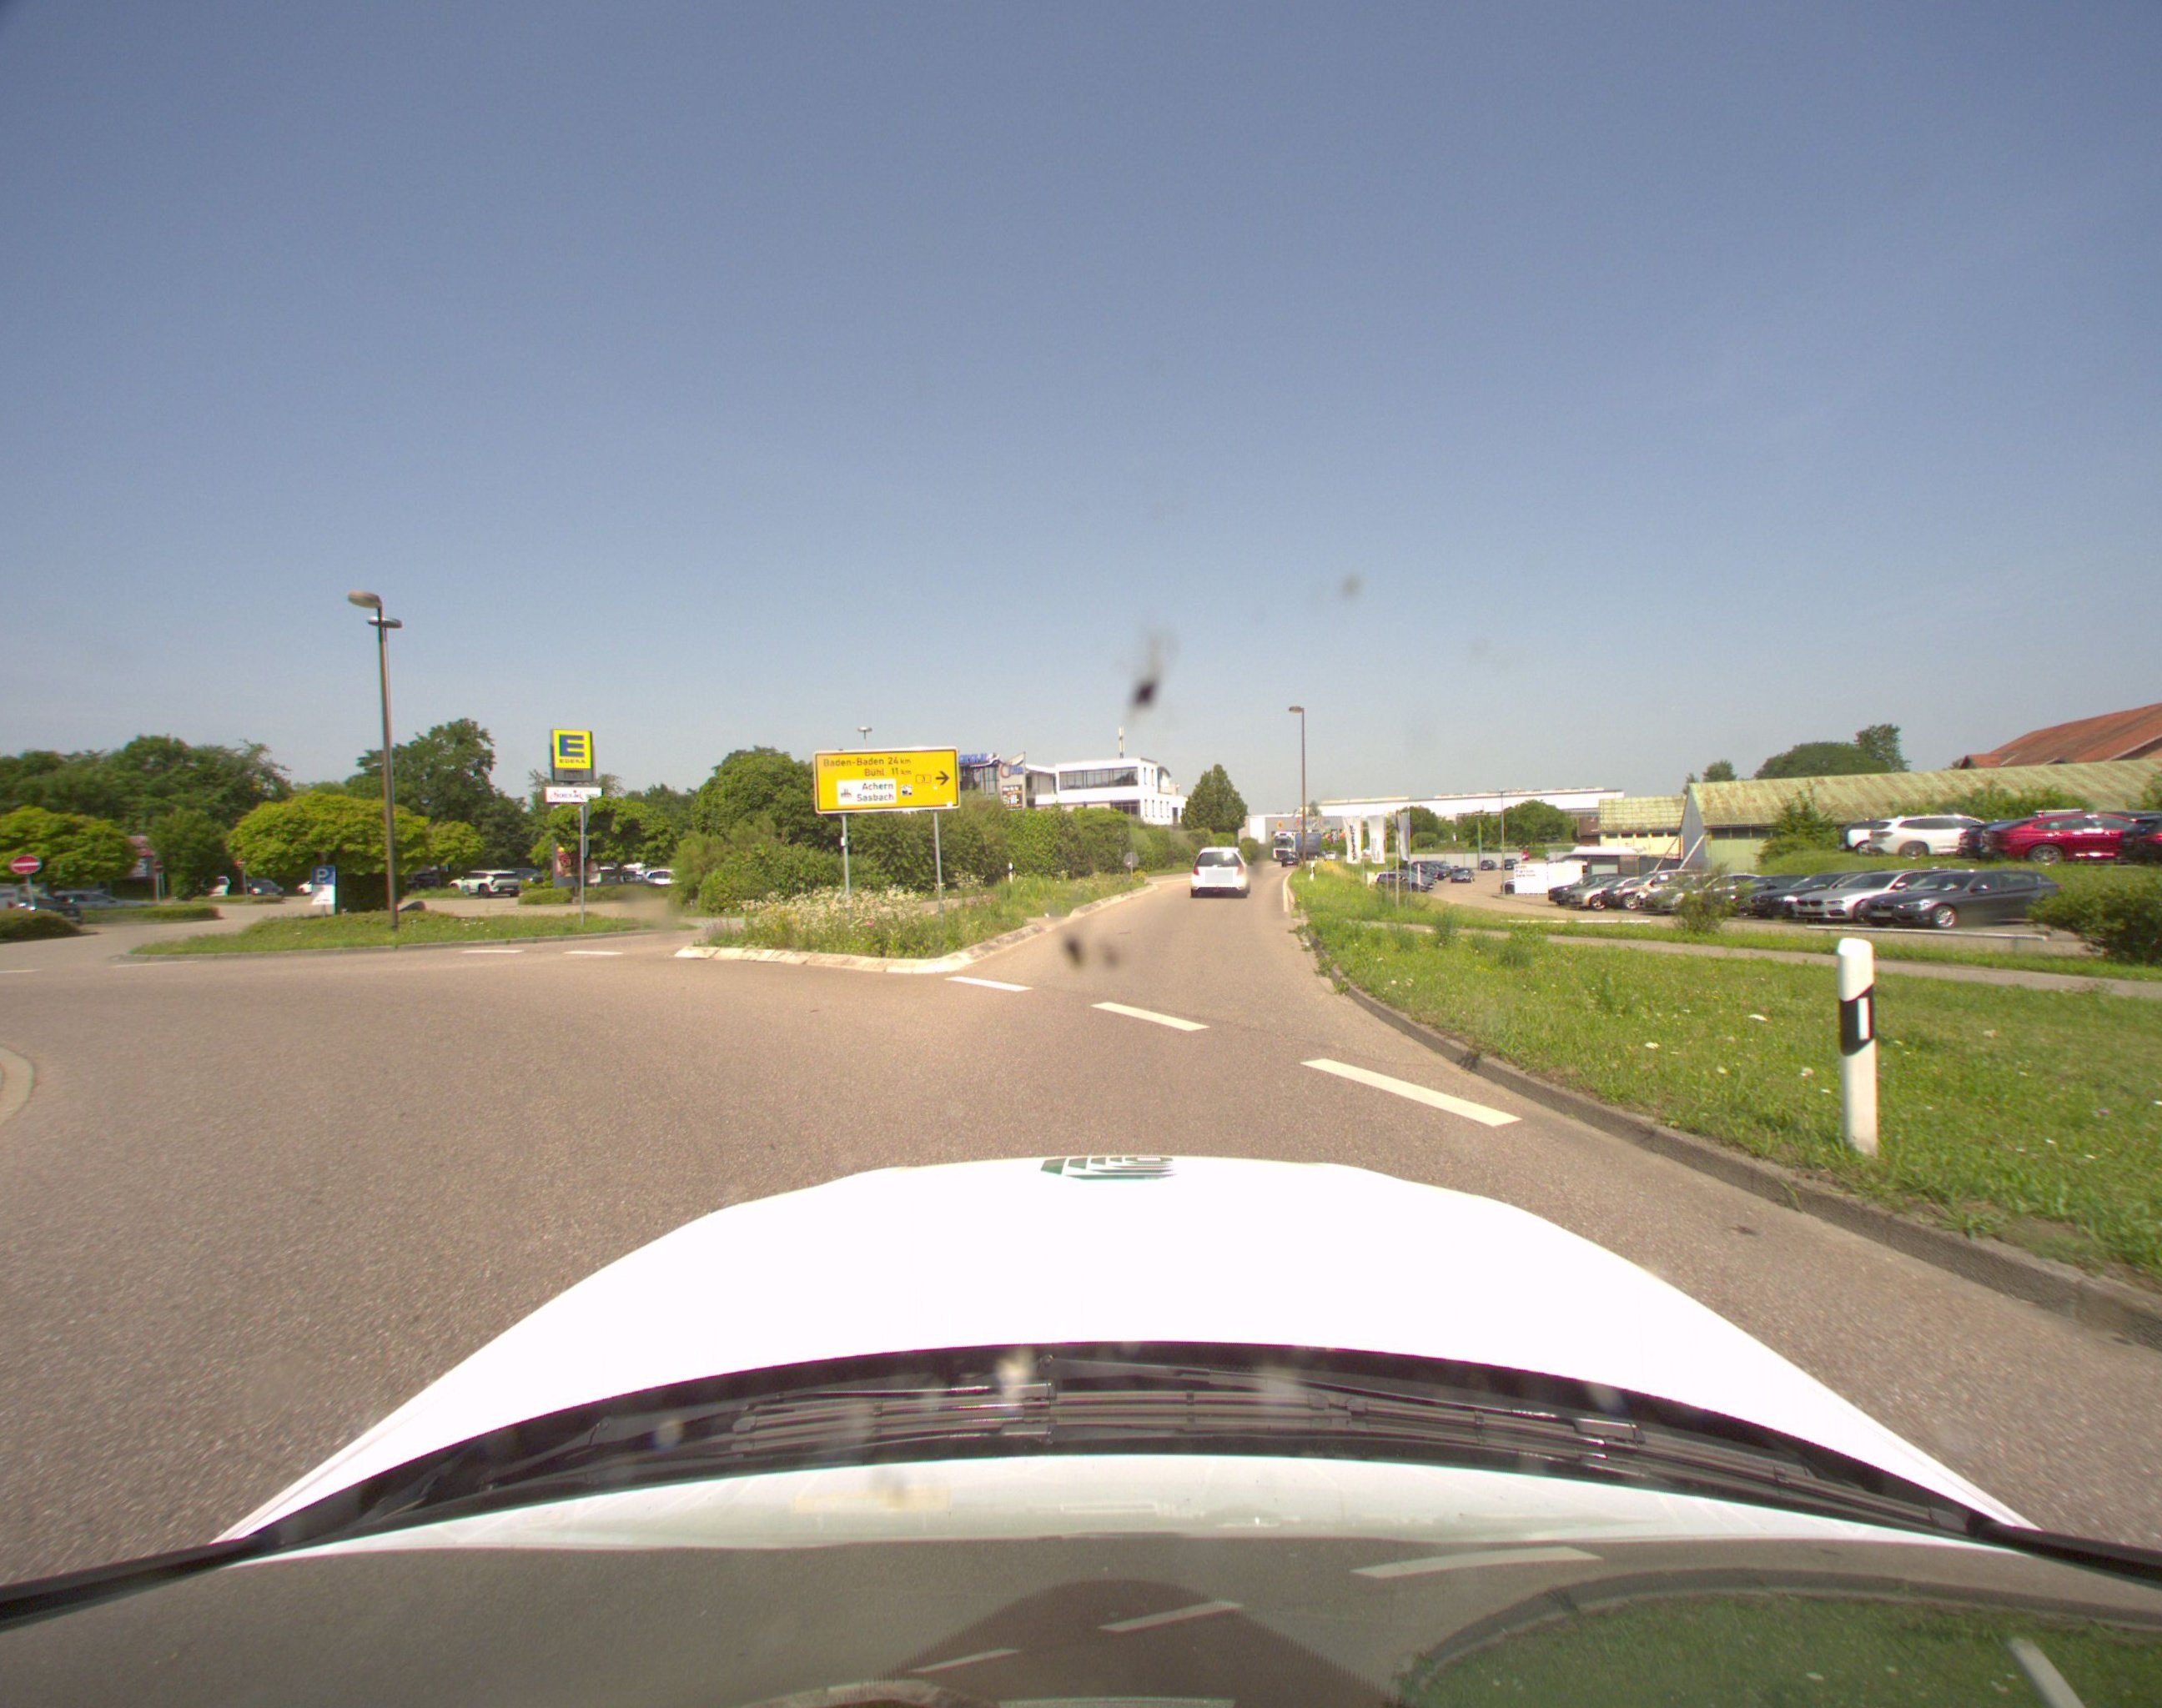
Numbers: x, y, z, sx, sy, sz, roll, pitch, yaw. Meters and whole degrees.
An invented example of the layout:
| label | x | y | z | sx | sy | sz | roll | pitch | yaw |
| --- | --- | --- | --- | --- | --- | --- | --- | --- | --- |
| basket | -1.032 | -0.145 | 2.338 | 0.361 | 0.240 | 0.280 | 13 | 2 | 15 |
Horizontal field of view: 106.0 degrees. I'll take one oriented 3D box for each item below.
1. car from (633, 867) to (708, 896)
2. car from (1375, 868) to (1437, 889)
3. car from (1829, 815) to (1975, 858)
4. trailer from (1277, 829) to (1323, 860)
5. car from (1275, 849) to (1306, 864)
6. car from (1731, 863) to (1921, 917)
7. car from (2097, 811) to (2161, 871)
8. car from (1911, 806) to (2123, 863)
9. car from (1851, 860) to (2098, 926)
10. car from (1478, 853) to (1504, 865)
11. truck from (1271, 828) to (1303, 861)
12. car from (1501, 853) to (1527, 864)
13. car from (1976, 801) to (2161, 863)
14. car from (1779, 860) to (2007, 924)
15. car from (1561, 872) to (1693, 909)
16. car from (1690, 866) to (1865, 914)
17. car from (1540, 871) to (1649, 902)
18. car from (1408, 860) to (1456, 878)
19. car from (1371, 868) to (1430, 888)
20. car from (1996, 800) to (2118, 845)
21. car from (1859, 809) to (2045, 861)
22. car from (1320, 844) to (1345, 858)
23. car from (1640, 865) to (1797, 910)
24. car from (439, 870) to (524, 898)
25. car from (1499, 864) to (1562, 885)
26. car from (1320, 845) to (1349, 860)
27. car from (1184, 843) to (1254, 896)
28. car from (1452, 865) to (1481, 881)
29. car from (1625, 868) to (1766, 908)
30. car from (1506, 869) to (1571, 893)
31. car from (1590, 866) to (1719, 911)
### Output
| label | x | y | z | sx | sy | sz | roll | pitch | yaw |
| --- | --- | --- | --- | --- | --- | --- | --- | --- | --- |
| car | -23.376 | 1.550 | 46.404 | 3.948 | 1.574 | 2.013 | -1 | -1 | 31 |
| car | 25.092 | 1.879 | 62.930 | 1.699 | 1.523 | 4.124 | 0 | 0 | -39 |
| car | 33.269 | -0.687 | 33.144 | 3.838 | 1.532 | 1.779 | -2 | 0 | 31 |
| trailer | 31.391 | -1.297 | 116.157 | 2.645 | 4.241 | 14.656 | 0 | 0 | 30 |
| car | 20.114 | 0.235 | 78.111 | 1.811 | 1.470 | 4.437 | 0 | 0 | 29 |
| car | 24.034 | 1.167 | 26.415 | 4.230 | 1.482 | 1.924 | -3 | -3 | 3 |
| car | 31.634 | -0.421 | 22.252 | 4.410 | 1.634 | 1.962 | -2 | 0 | 31 |
| car | 32.013 | -0.636 | 28.065 | 4.410 | 1.747 | 1.851 | -2 | 0 | 31 |
| car | 23.219 | 1.013 | 21.267 | 4.546 | 1.421 | 1.781 | -3 | -3 | -2 |
| car | 53.813 | 0.644 | 106.772 | 1.833 | 1.534 | 4.672 | 0 | 0 | 43 |
| truck | 27.877 | -1.302 | 110.058 | 2.489 | 4.257 | 6.151 | -2 | -1 | 30 |
| car | 55.907 | 0.578 | 105.105 | 1.975 | 1.398 | 4.024 | 0 | 0 | 43 |
| car | 31.598 | -0.673 | 25.496 | 4.410 | 1.747 | 1.962 | -2 | 0 | 31 |
| car | 23.650 | 1.105 | 23.880 | 4.539 | 1.566 | 1.924 | -3 | -3 | 3 |
| car | 25.841 | 1.727 | 38.733 | 4.735 | 1.508 | 2.006 | -3 | -3 | 12 |
| car | 24.383 | 1.263 | 28.697 | 4.220 | 1.413 | 1.929 | -3 | -3 | 12 |
| car | 27.445 | 1.731 | 43.655 | 4.455 | 1.640 | 2.152 | -1 | -2 | 7 |
| car | 36.543 | 1.551 | 84.905 | 1.927 | 1.700 | 4.190 | -3 | 2 | -35 |
| car | 25.899 | 1.940 | 66.170 | 1.761 | 1.523 | 4.121 | 0 | 0 | -43 |
| car | 39.108 | -1.233 | 32.779 | 1.898 | 1.596 | 4.332 | -2 | 0 | 33 |
| car | 32.602 | -0.690 | 30.685 | 4.410 | 1.747 | 1.851 | -2 | 0 | 31 |
| car | 36.688 | -0.435 | 118.806 | 1.974 | 2.013 | 4.025 | 0 | 0 | 41 |
| car | 24.545 | 1.301 | 31.485 | 4.401 | 1.465 | 1.924 | -3 | -3 | 3 |
| car | -34.623 | 1.714 | 47.056 | 3.954 | 1.516 | 1.988 | 0 | 0 | 19 |
| car | 34.010 | 1.572 | 61.646 | 3.919 | 1.523 | 1.762 | -1 | -1 | 38 |
| car | 34.652 | -0.196 | 111.229 | 4.022 | 2.013 | 1.976 | 0 | 0 | -43 |
| car | 4.615 | 0.461 | 26.760 | 1.767 | 1.603 | 3.910 | 0 | 0 | 17 |
| car | 37.588 | 1.863 | 79.365 | 2.115 | 1.457 | 4.560 | 0 | 0 | 31 |
| car | 25.501 | 1.415 | 33.942 | 4.220 | 1.465 | 1.879 | -3 | -3 | 12 |
| car | 32.757 | 1.911 | 58.369 | 3.756 | 1.523 | 1.762 | 0 | 0 | 45 |
| car | 25.539 | 1.545 | 36.424 | 4.220 | 1.748 | 2.006 | -3 | -3 | 12 |
